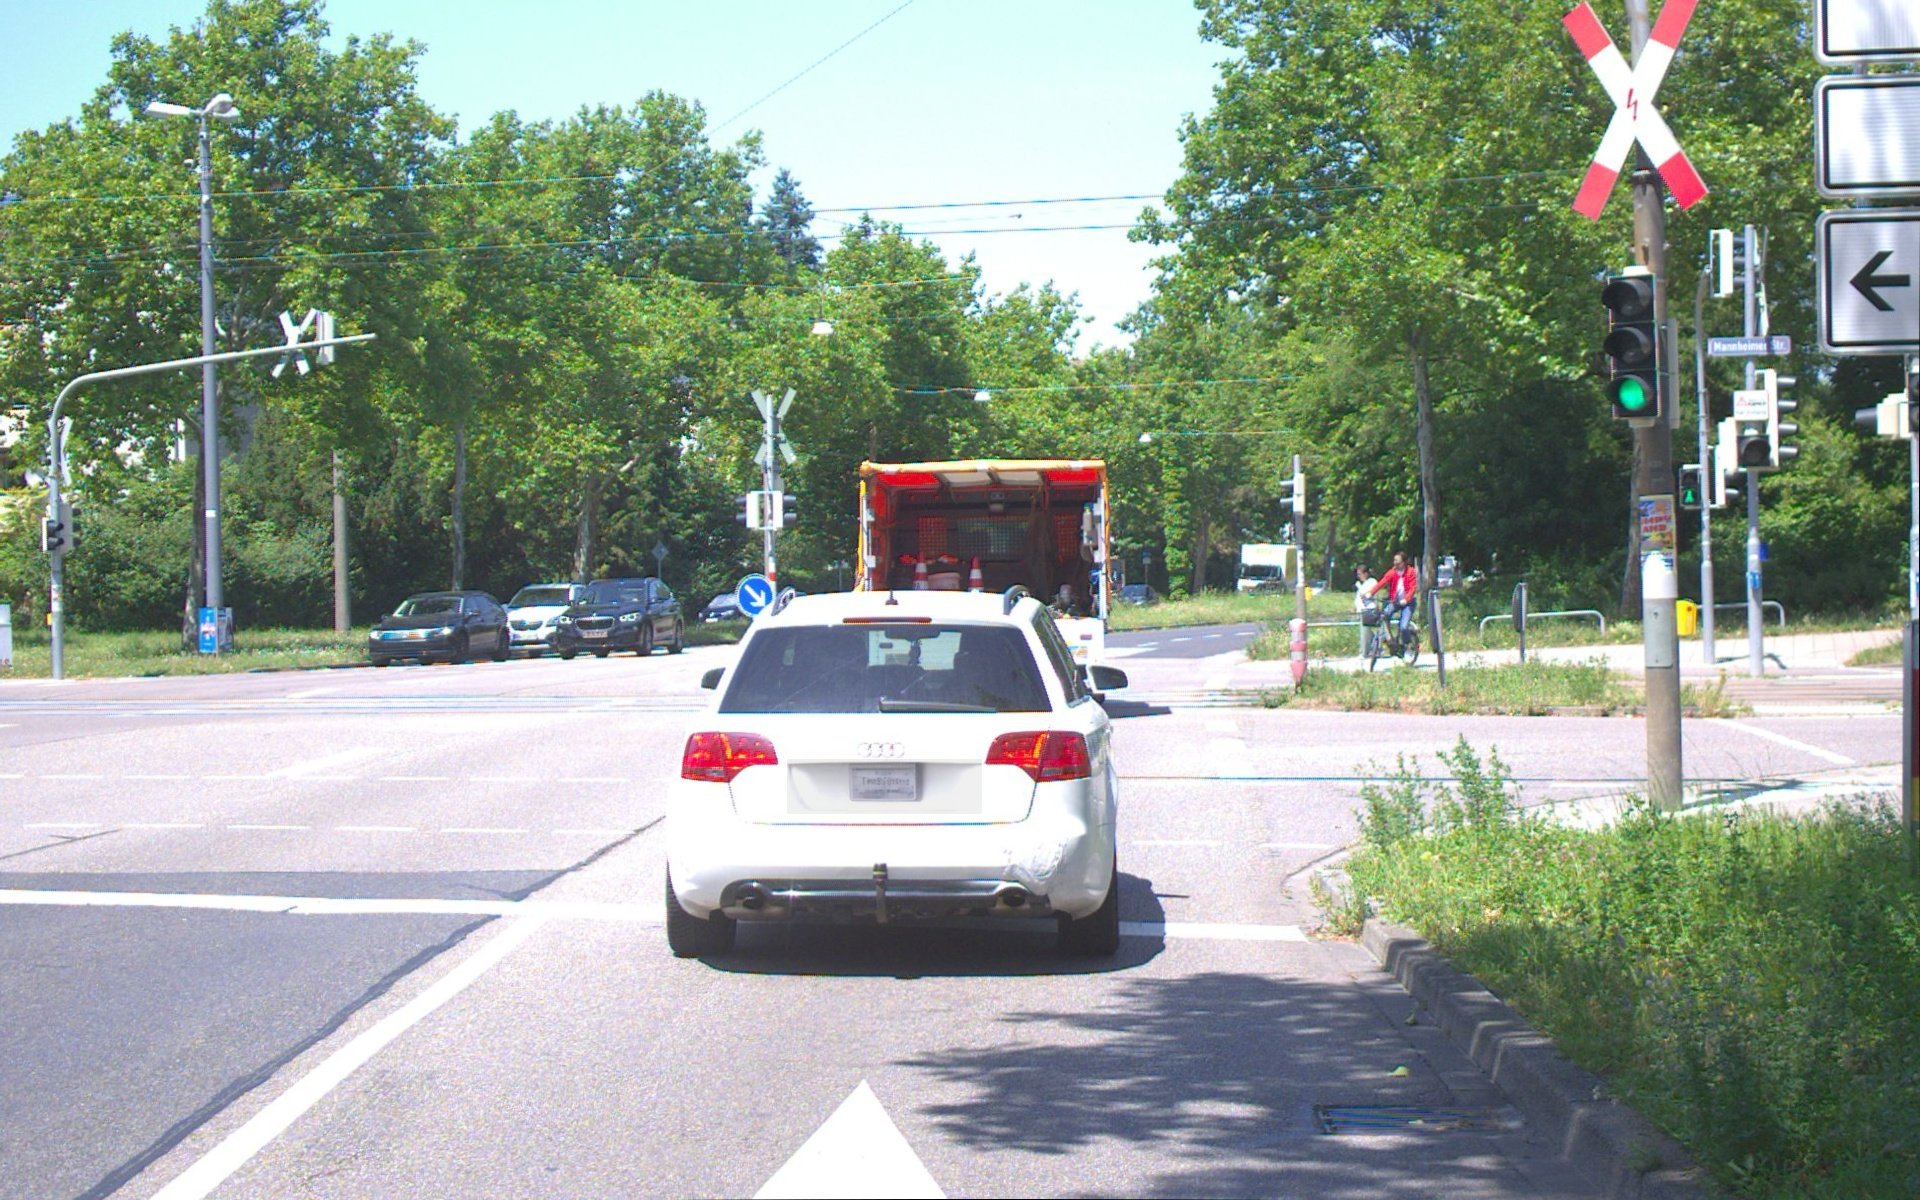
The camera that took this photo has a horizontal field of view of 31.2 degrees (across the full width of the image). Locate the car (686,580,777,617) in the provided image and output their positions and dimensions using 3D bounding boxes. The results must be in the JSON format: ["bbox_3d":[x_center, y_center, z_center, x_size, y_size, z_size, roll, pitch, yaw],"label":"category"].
[{"bbox_3d":[-8.946,-0.080,134.743,1.884,1.388,3.995,-1,0,24],"label":"car"}]

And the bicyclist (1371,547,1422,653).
[{"bbox_3d":[6.453,0.001,50.774,0.578,1.551,0.673,-1,1,21],"label":"bicyclist"}]

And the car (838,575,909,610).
[{"bbox_3d":[-3.731,-0.314,149.654,1.883,1.469,3.997,-1,0,18],"label":"car"}]

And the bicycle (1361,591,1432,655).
[{"bbox_3d":[6.448,0.329,50.739,0.587,0.892,1.809,-1,1,21],"label":"bicycle"}]

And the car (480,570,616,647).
[{"bbox_3d":[-9.107,0.165,76.315,1.788,1.609,4.402,-1,1,10],"label":"car"}]

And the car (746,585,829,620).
[{"bbox_3d":[-7.017,0.083,140.078,1.883,1.371,3.996,-1,0,22],"label":"car"}]

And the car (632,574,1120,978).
[{"bbox_3d":[-0.252,0.620,14.232,1.762,1.440,3.616,0,1,2],"label":"car"}]

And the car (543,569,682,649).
[{"bbox_3d":[-7.008,0.161,69.743,1.909,1.533,4.298,-1,1,7],"label":"car"}]

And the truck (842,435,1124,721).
[{"bbox_3d":[0.236,-0.214,34.776,2.511,2.551,7.603,1,0,0],"label":"truck"}]

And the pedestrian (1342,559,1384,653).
[{"bbox_3d":[6.371,0.092,54.313,0.553,1.479,0.629,-1,0,14],"label":"pedestrian"}]

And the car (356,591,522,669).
[{"bbox_3d":[-10.442,0.578,69.285,1.950,1.435,4.745,-1,1,9],"label":"car"}]

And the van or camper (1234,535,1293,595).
[{"bbox_3d":[17.349,-2.001,196.439,2.662,3.320,5.497,-1,0,12],"label":"van or camper"}]
